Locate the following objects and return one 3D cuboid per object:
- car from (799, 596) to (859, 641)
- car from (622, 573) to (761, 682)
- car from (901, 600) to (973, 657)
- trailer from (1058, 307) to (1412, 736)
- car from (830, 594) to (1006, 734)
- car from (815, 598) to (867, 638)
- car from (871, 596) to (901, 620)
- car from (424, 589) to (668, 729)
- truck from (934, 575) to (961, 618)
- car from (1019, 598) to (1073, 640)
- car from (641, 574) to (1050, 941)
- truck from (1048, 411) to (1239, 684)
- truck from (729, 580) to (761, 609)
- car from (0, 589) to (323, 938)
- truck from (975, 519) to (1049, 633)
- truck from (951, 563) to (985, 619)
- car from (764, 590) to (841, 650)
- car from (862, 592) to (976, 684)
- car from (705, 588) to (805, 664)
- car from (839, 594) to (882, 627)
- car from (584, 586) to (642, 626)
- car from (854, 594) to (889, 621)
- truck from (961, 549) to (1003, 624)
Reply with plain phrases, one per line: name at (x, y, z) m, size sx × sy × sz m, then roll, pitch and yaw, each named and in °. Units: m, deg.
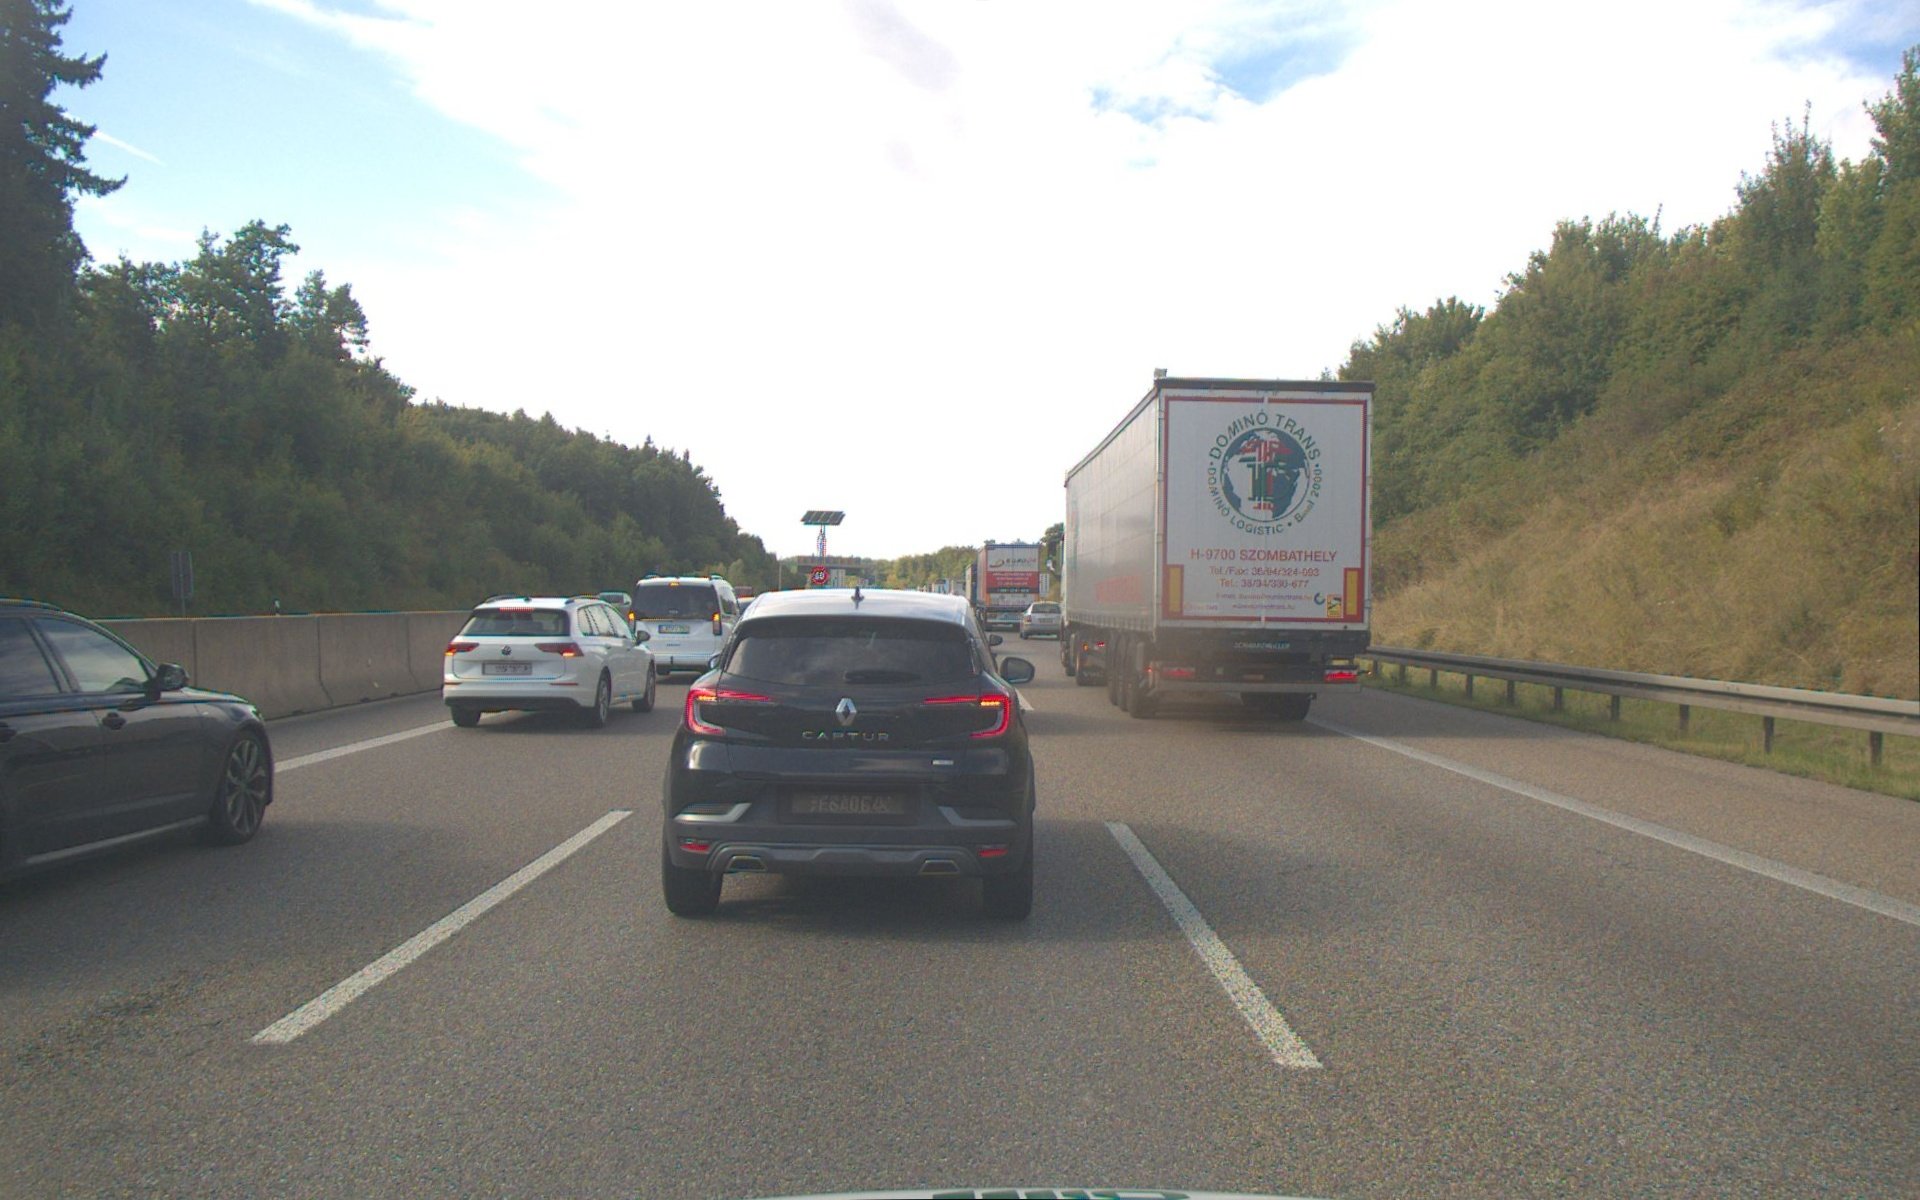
car at (-5.009, 0.703, 63.764) m, size 1.953 × 1.641 × 4.000 m, roll 1°, pitch 0°, yaw 0°
car at (-4.791, 0.481, 30.121) m, size 1.873 × 1.821 × 4.416 m, roll 1°, pitch 0°, yaw -1°
car at (-0.632, 0.804, 47.588) m, size 1.953 × 1.540 × 4.000 m, roll 1°, pitch 0°, yaw 0°
trailer at (3.463, -0.889, 25.067) m, size 2.941 × 4.742 × 13.288 m, roll 1°, pitch 0°, yaw -1°
car at (-0.468, 0.732, 20.599) m, size 1.953 × 1.540 × 4.000 m, roll 1°, pitch 0°, yaw 0°
car at (-5.096, 0.760, 71.321) m, size 1.953 × 1.641 × 4.000 m, roll 1°, pitch 0°, yaw 0°
car at (-5.157, 0.557, 115.605) m, size 1.953 × 1.641 × 4.000 m, roll 1°, pitch 0°, yaw 0°
car at (-4.804, 0.644, 19.824) m, size 1.767 × 1.486 × 4.308 m, roll 1°, pitch 0°, yaw 1°
truck at (-1.453, -0.372, 205.716) m, size 3.101 × 5.250 × 12.737 m, roll 1°, pitch 0°, yaw 0°
car at (3.325, 0.715, 64.486) m, size 1.768 × 1.559 × 3.924 m, roll 1°, pitch 0°, yaw -1°
car at (-0.433, 0.686, 9.185) m, size 1.767 × 1.579 × 4.001 m, roll 0°, pitch 0°, yaw 2°
truck at (3.383, -0.927, 32.044) m, size 2.936 × 4.749 × 5.938 m, roll 1°, pitch 0°, yaw -1°
truck at (-21.774, -0.564, 167.624) m, size 2.373 × 2.905 × 6.429 m, roll 1°, pitch 0°, yaw -1°
car at (-5.015, 0.692, 8.258) m, size 1.805 × 1.481 × 4.747 m, roll 1°, pitch 0°, yaw 0°
truck at (2.428, -1.031, 81.735) m, size 3.296 × 5.132 × 12.737 m, roll 1°, pitch 0°, yaw 0°
truck at (0.901, -0.829, 172.877) m, size 3.101 × 5.601 × 12.739 m, roll 1°, pitch 0°, yaw 2°
car at (-4.851, 0.611, 51.419) m, size 1.953 × 1.752 × 4.000 m, roll 1°, pitch 0°, yaw 0°
car at (-0.704, 0.671, 30.488) m, size 1.953 × 1.540 × 4.000 m, roll 1°, pitch 0°, yaw 0°
car at (-4.787, 0.590, 39.082) m, size 1.817 × 1.669 × 3.925 m, roll 1°, pitch 0°, yaw 0°
car at (-5.111, 0.504, 85.705) m, size 1.953 × 1.641 × 4.000 m, roll 1°, pitch 0°, yaw 0°
car at (-16.555, 0.279, 79.166) m, size 1.814 × 1.841 × 4.624 m, roll 1°, pitch 0°, yaw -1°
car at (-5.451, 0.458, 102.362) m, size 1.953 × 1.641 × 4.000 m, roll 1°, pitch 0°, yaw 0°
truck at (1.694, -0.972, 131.259) m, size 3.101 × 5.601 × 12.737 m, roll 1°, pitch 0°, yaw 0°
